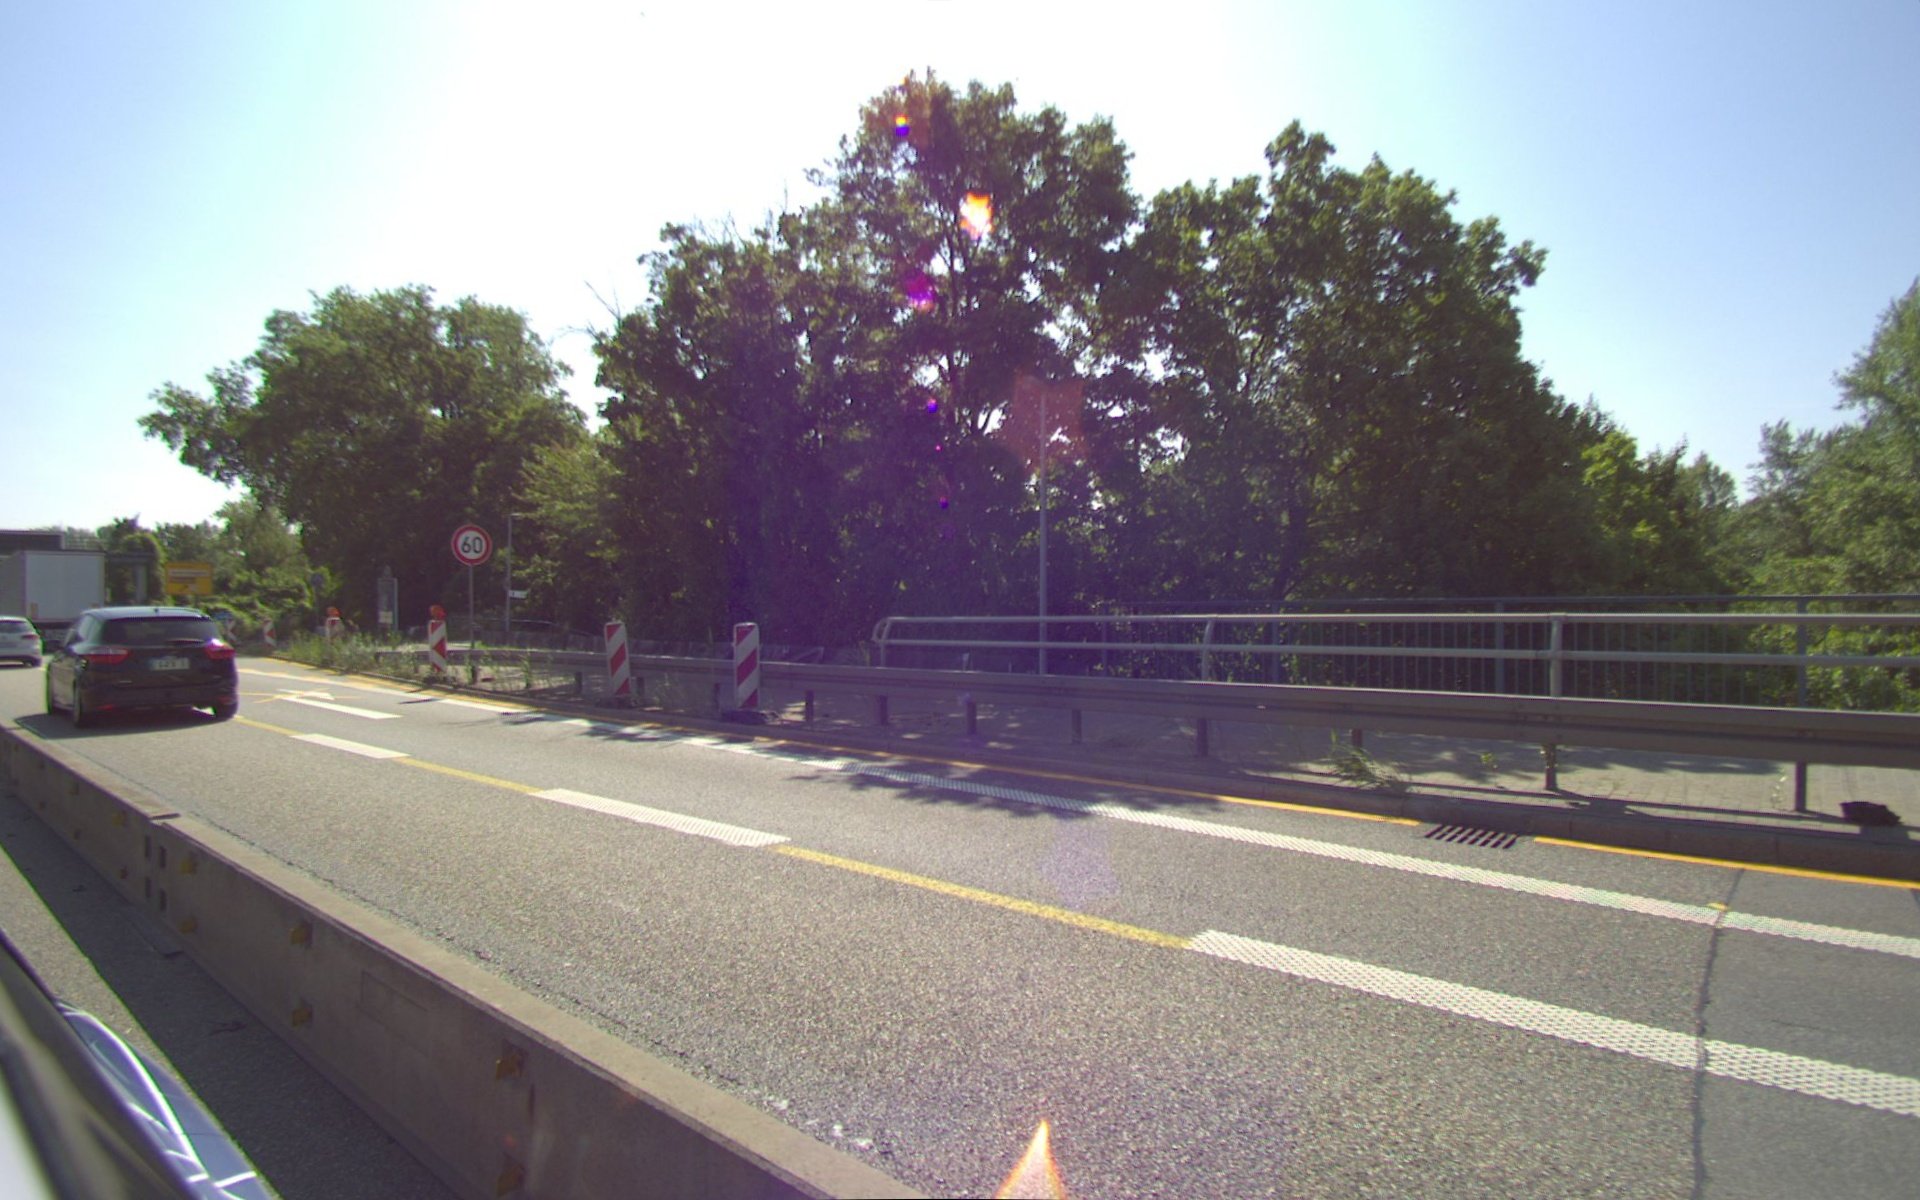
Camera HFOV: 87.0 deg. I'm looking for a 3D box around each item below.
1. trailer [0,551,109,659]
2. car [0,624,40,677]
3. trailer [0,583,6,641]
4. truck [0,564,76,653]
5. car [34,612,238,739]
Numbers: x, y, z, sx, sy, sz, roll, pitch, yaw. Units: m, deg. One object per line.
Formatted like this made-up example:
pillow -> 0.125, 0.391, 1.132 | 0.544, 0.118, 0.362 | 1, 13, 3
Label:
trailer -> -39.655, 0.341, 43.781 | 13.468, 4.074, 2.773 | -2, -2, 43
car -> -27.784, 1.423, 29.005 | 4.154, 1.428, 1.794 | -1, -1, 44
trailer -> -74.570, 0.938, 76.653 | 14.070, 4.159, 2.591 | -1, -1, 44
truck -> -44.617, 0.464, 48.495 | 5.985, 4.021, 2.784 | -2, -2, 43
car -> -11.952, 0.984, 14.594 | 3.941, 1.564, 1.719 | -1, -1, 42
